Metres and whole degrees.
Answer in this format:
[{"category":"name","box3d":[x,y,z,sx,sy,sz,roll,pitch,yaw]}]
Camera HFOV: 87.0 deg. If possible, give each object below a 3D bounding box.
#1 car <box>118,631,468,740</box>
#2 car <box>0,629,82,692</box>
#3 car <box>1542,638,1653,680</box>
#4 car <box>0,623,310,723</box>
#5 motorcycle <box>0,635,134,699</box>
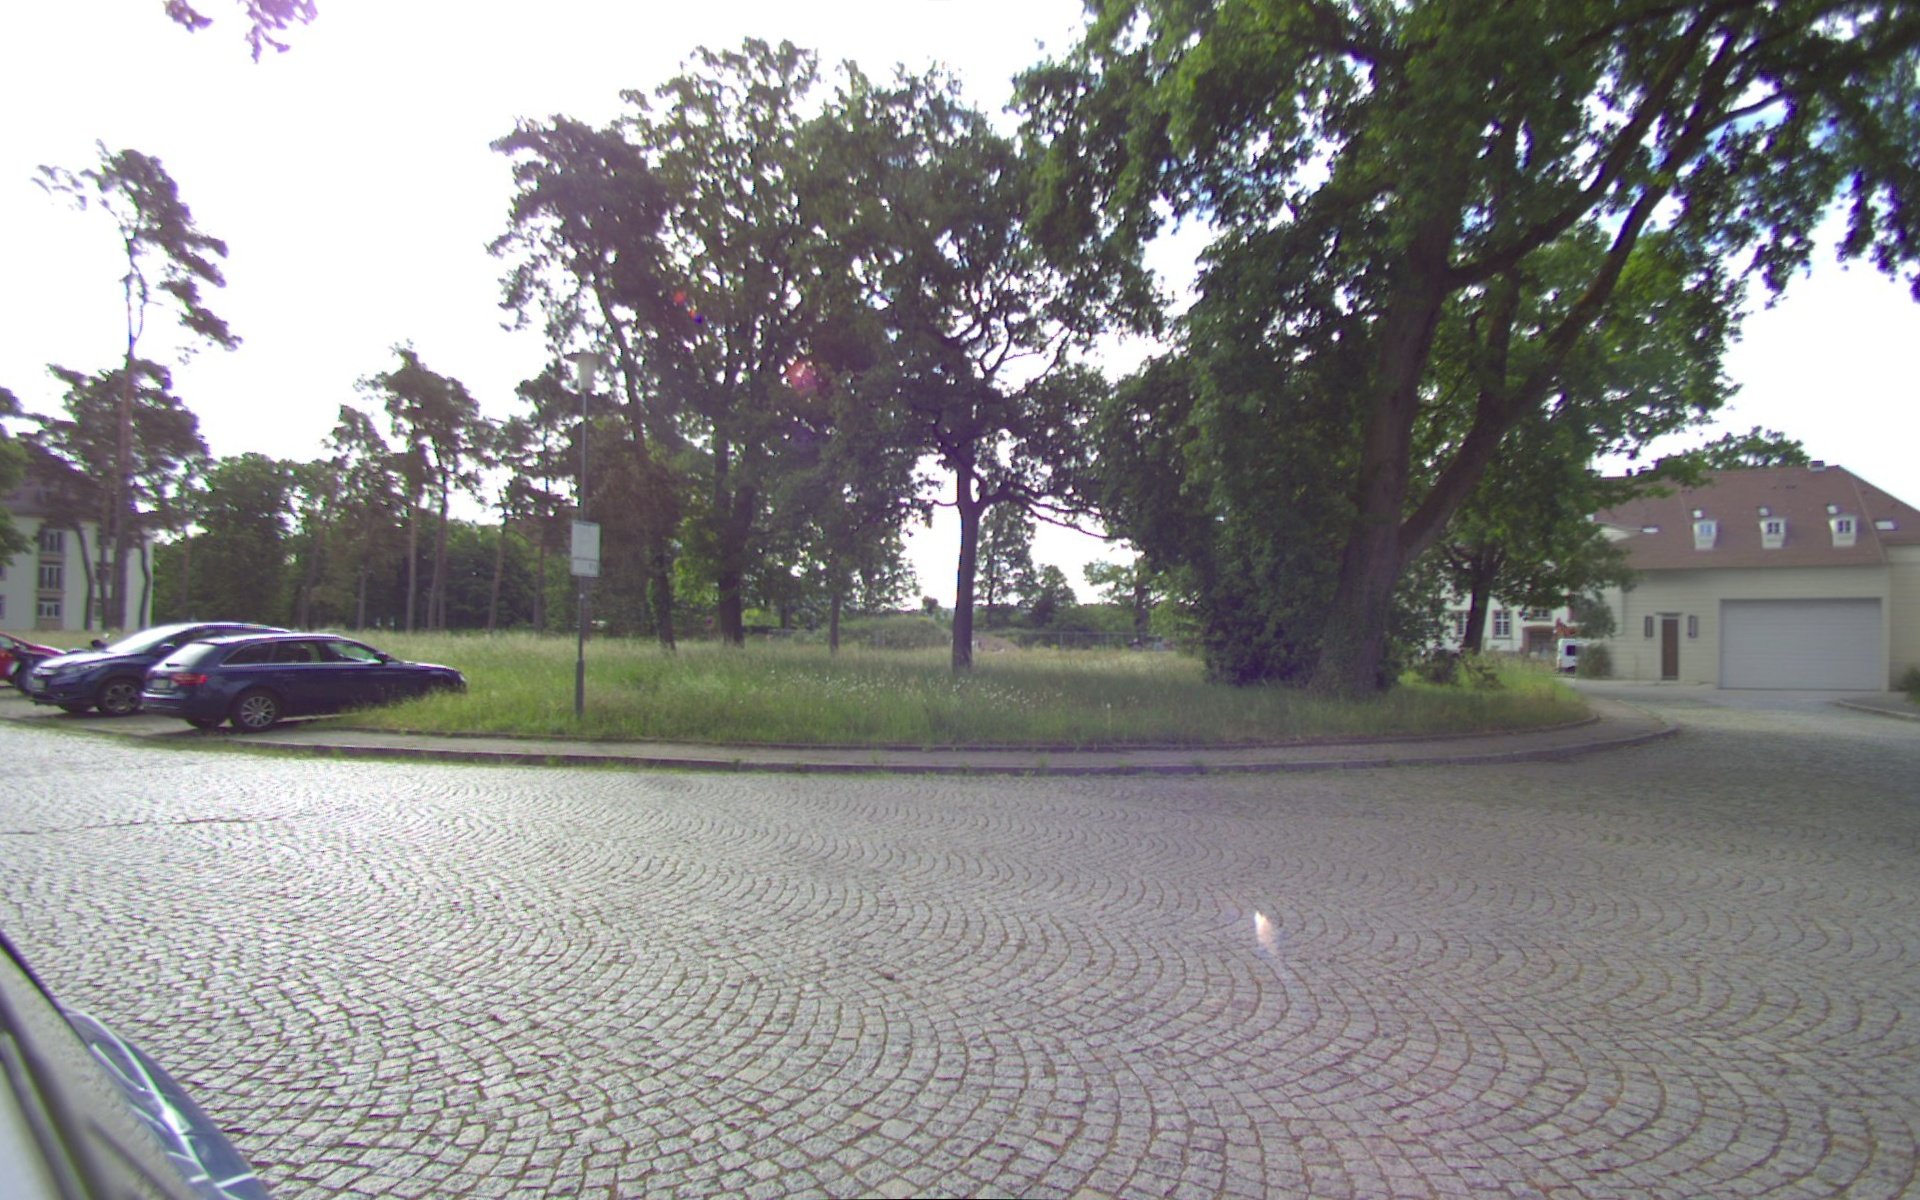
[{"category":"car","box3d":[-10.465,1.252,16.261,1.676,1.491,4.398,-1,-2,31]},{"category":"car","box3d":[-23.460,1.426,23.833,1.664,1.490,3.860,-1,-2,27]},{"category":"car","box3d":[38.459,3.516,61.258,5.508,2.224,2.105,0,0,29]},{"category":"car","box3d":[-14.602,1.263,18.615,1.781,1.585,4.113,0,-2,27]},{"category":"motorcycle","box3d":[-19.473,1.420,21.895,0.740,1.298,2.340,-1,-2,28]}]
